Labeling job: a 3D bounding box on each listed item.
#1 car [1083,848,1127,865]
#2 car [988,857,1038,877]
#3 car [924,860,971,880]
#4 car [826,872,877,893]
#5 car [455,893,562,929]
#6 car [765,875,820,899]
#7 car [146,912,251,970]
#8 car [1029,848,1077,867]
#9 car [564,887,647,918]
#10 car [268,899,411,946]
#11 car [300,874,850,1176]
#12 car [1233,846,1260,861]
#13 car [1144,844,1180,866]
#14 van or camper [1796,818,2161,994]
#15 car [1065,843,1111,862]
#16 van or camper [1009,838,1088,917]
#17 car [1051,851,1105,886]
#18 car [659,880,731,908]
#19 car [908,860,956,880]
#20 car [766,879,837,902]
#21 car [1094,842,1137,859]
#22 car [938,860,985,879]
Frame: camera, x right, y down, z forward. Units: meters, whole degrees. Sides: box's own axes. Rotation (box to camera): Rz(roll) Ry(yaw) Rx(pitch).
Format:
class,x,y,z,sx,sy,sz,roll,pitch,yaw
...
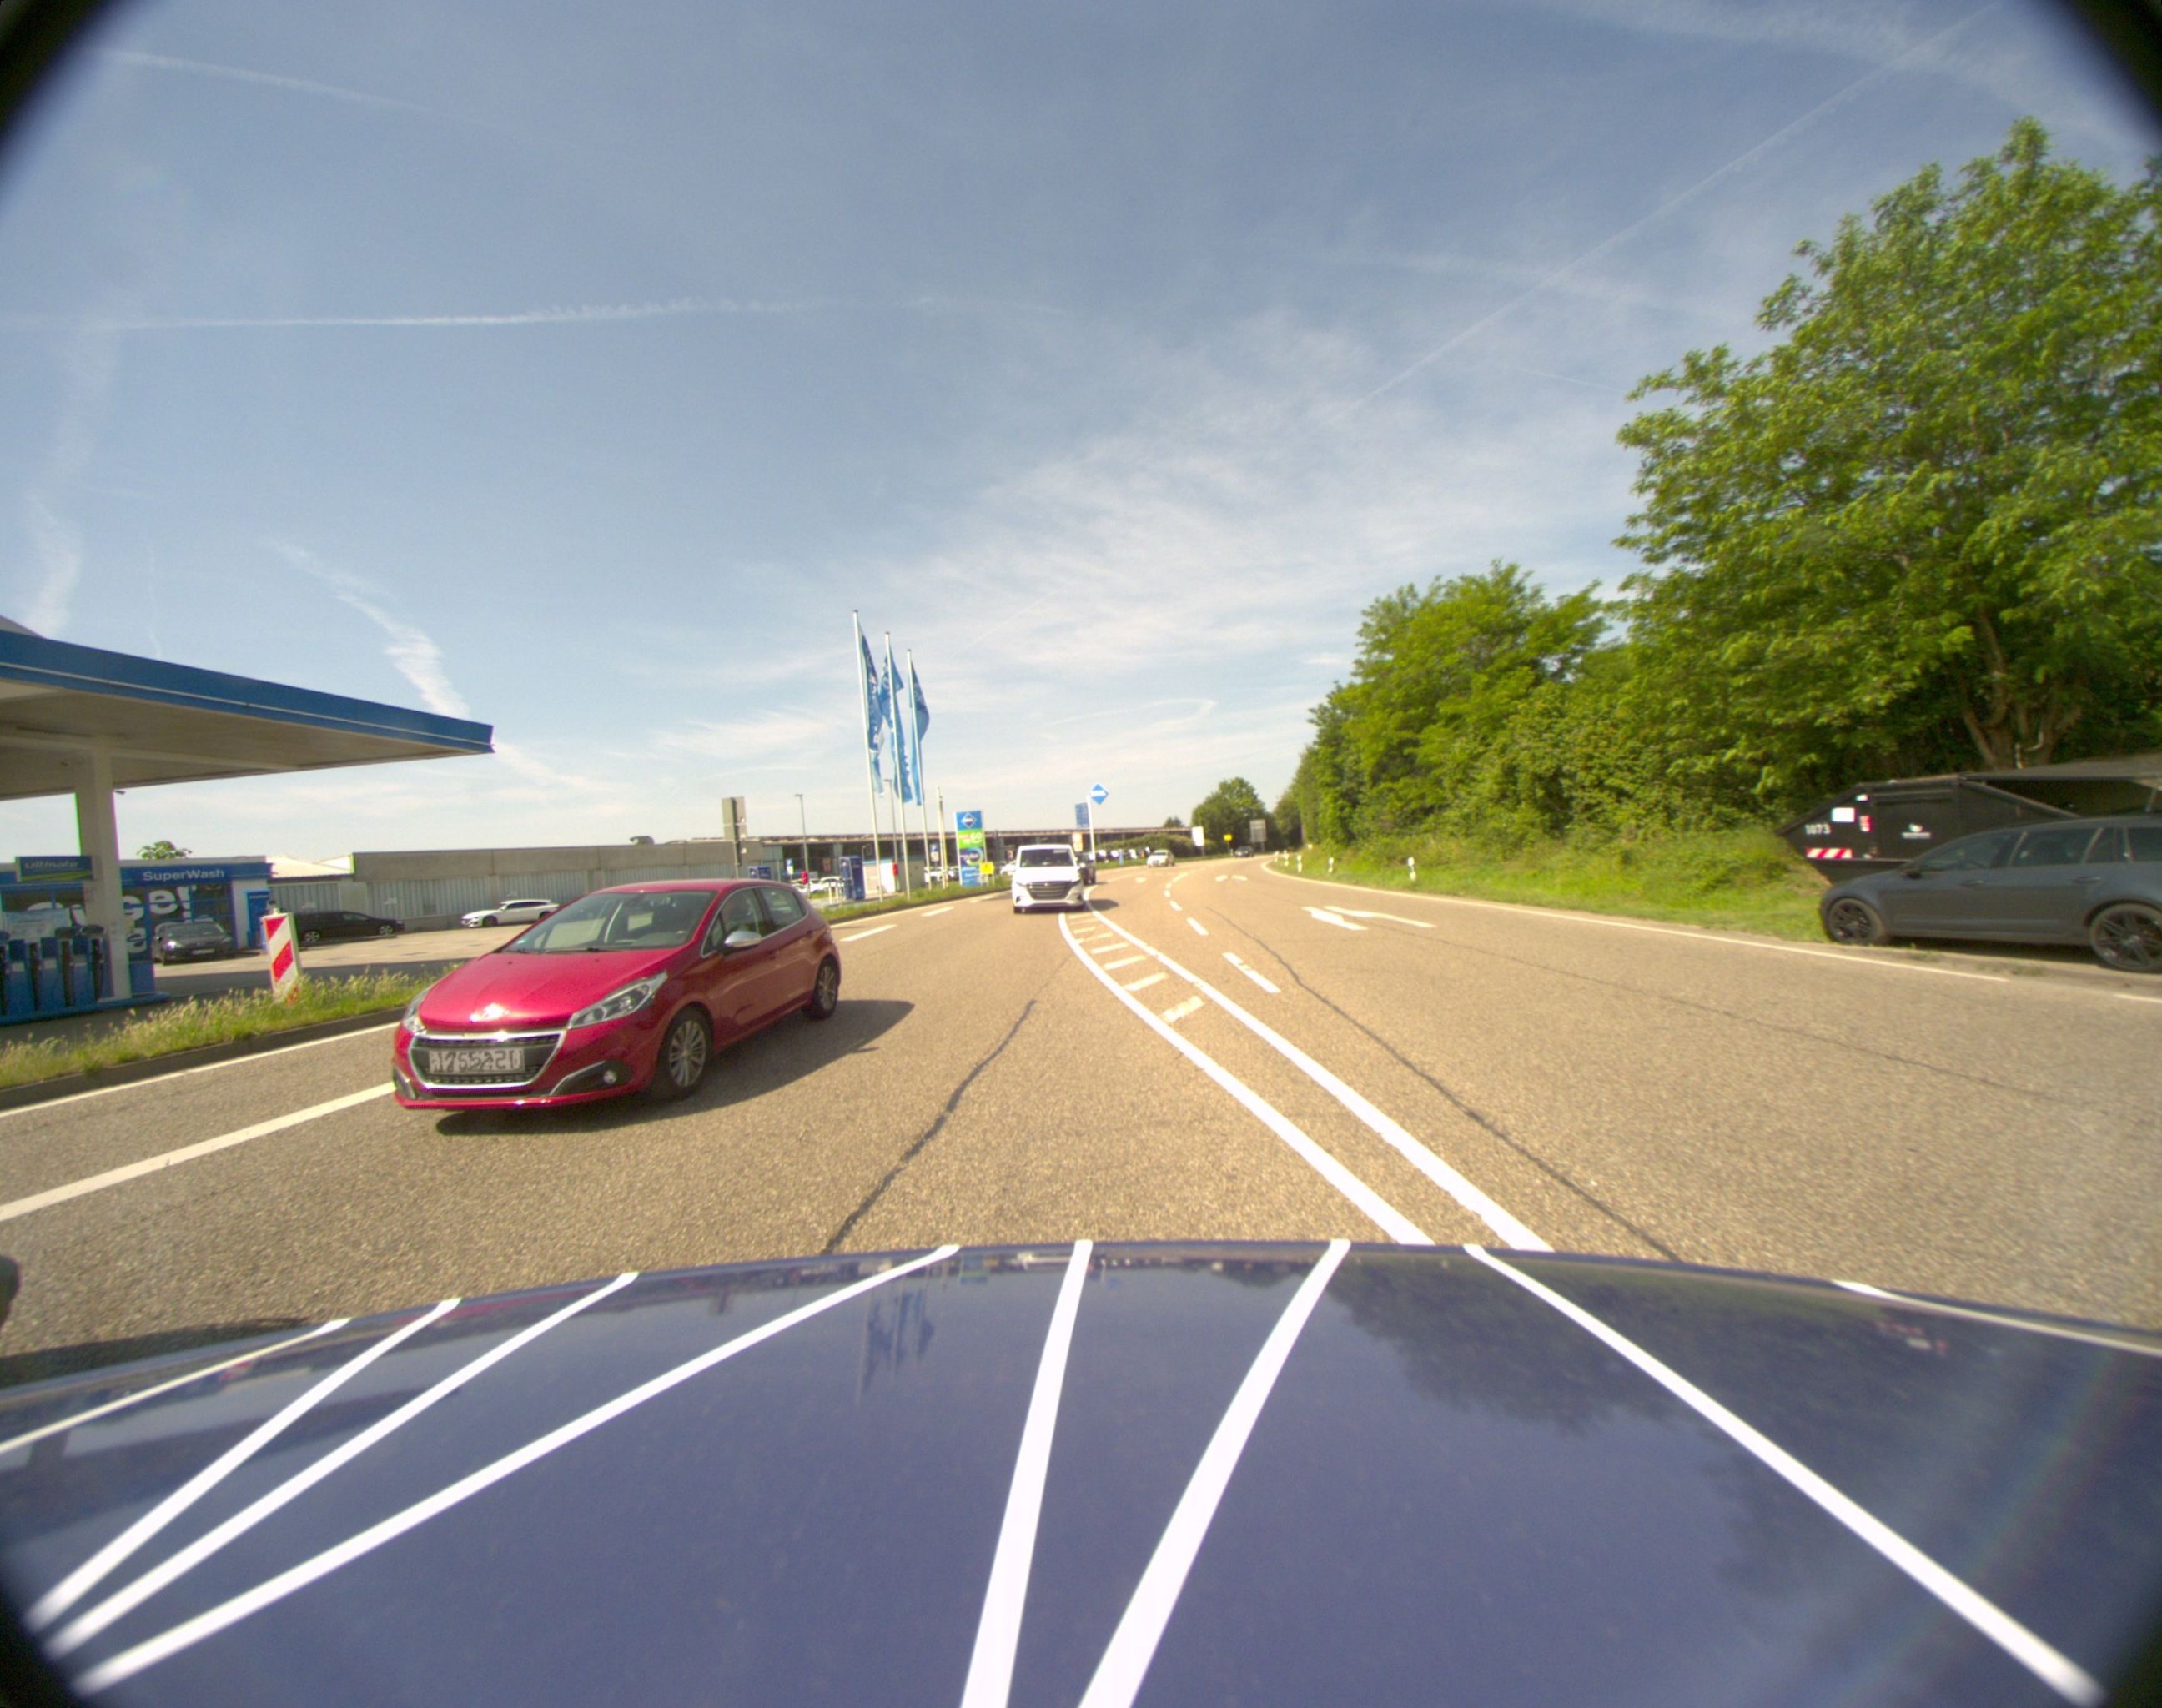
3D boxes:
class,x,y,z,sx,sy,sz,roll,pitch,yaw
car,2.618,0.255,81.971,4.248,1.628,1.825,-4,-1,27
car,-6.323,1.194,70.841,4.248,1.628,1.825,-4,-1,27
car,-13.128,1.562,74.574,4.454,1.628,1.826,-4,-1,33
car,-19.126,2.374,63.326,4.036,1.449,1.826,-4,-1,33
car,-33.313,3.320,44.359,1.886,1.595,4.537,-4,0,29
car,-22.261,2.561,58.626,4.011,1.595,1.893,-4,0,35
car,-32.524,3.165,27.979,4.161,1.815,1.893,-4,1,33
car,-2.739,0.335,74.703,4.248,1.628,1.825,-4,-1,27
car,-30.675,3.117,49.140,1.885,1.595,4.028,-4,0,32
car,-36.973,3.376,38.063,1.886,1.815,4.662,-4,0,27
car,-3.477,1.041,6.208,1.805,1.563,3.714,-2,0,3
car,22.286,-0.068,102.168,1.864,1.632,4.429,-4,0,33
car,7.247,0.060,67.741,1.865,1.631,4.427,-4,0,23
van or camper,10.619,0.438,8.199,1.643,1.515,4.468,-5,0,3
car,0.697,-0.168,78.041,4.248,1.628,1.825,-4,-1,27
van or camper,-0.960,0.616,22.457,1.999,2.002,5.289,-1,0,-3
car,-0.085,0.676,38.290,1.819,1.532,3.730,-4,0,12
car,-27.501,2.818,54.247,1.885,1.595,4.028,-4,0,36
car,-14.274,1.536,72.813,4.454,1.628,1.826,-4,-1,33
car,-19.177,2.477,52.203,4.132,1.245,1.695,-4,0,-36
car,3.858,-0.430,84.903,4.248,1.628,1.825,-4,-1,27
car,-11.987,1.512,76.212,4.454,1.628,1.826,-4,-1,33
